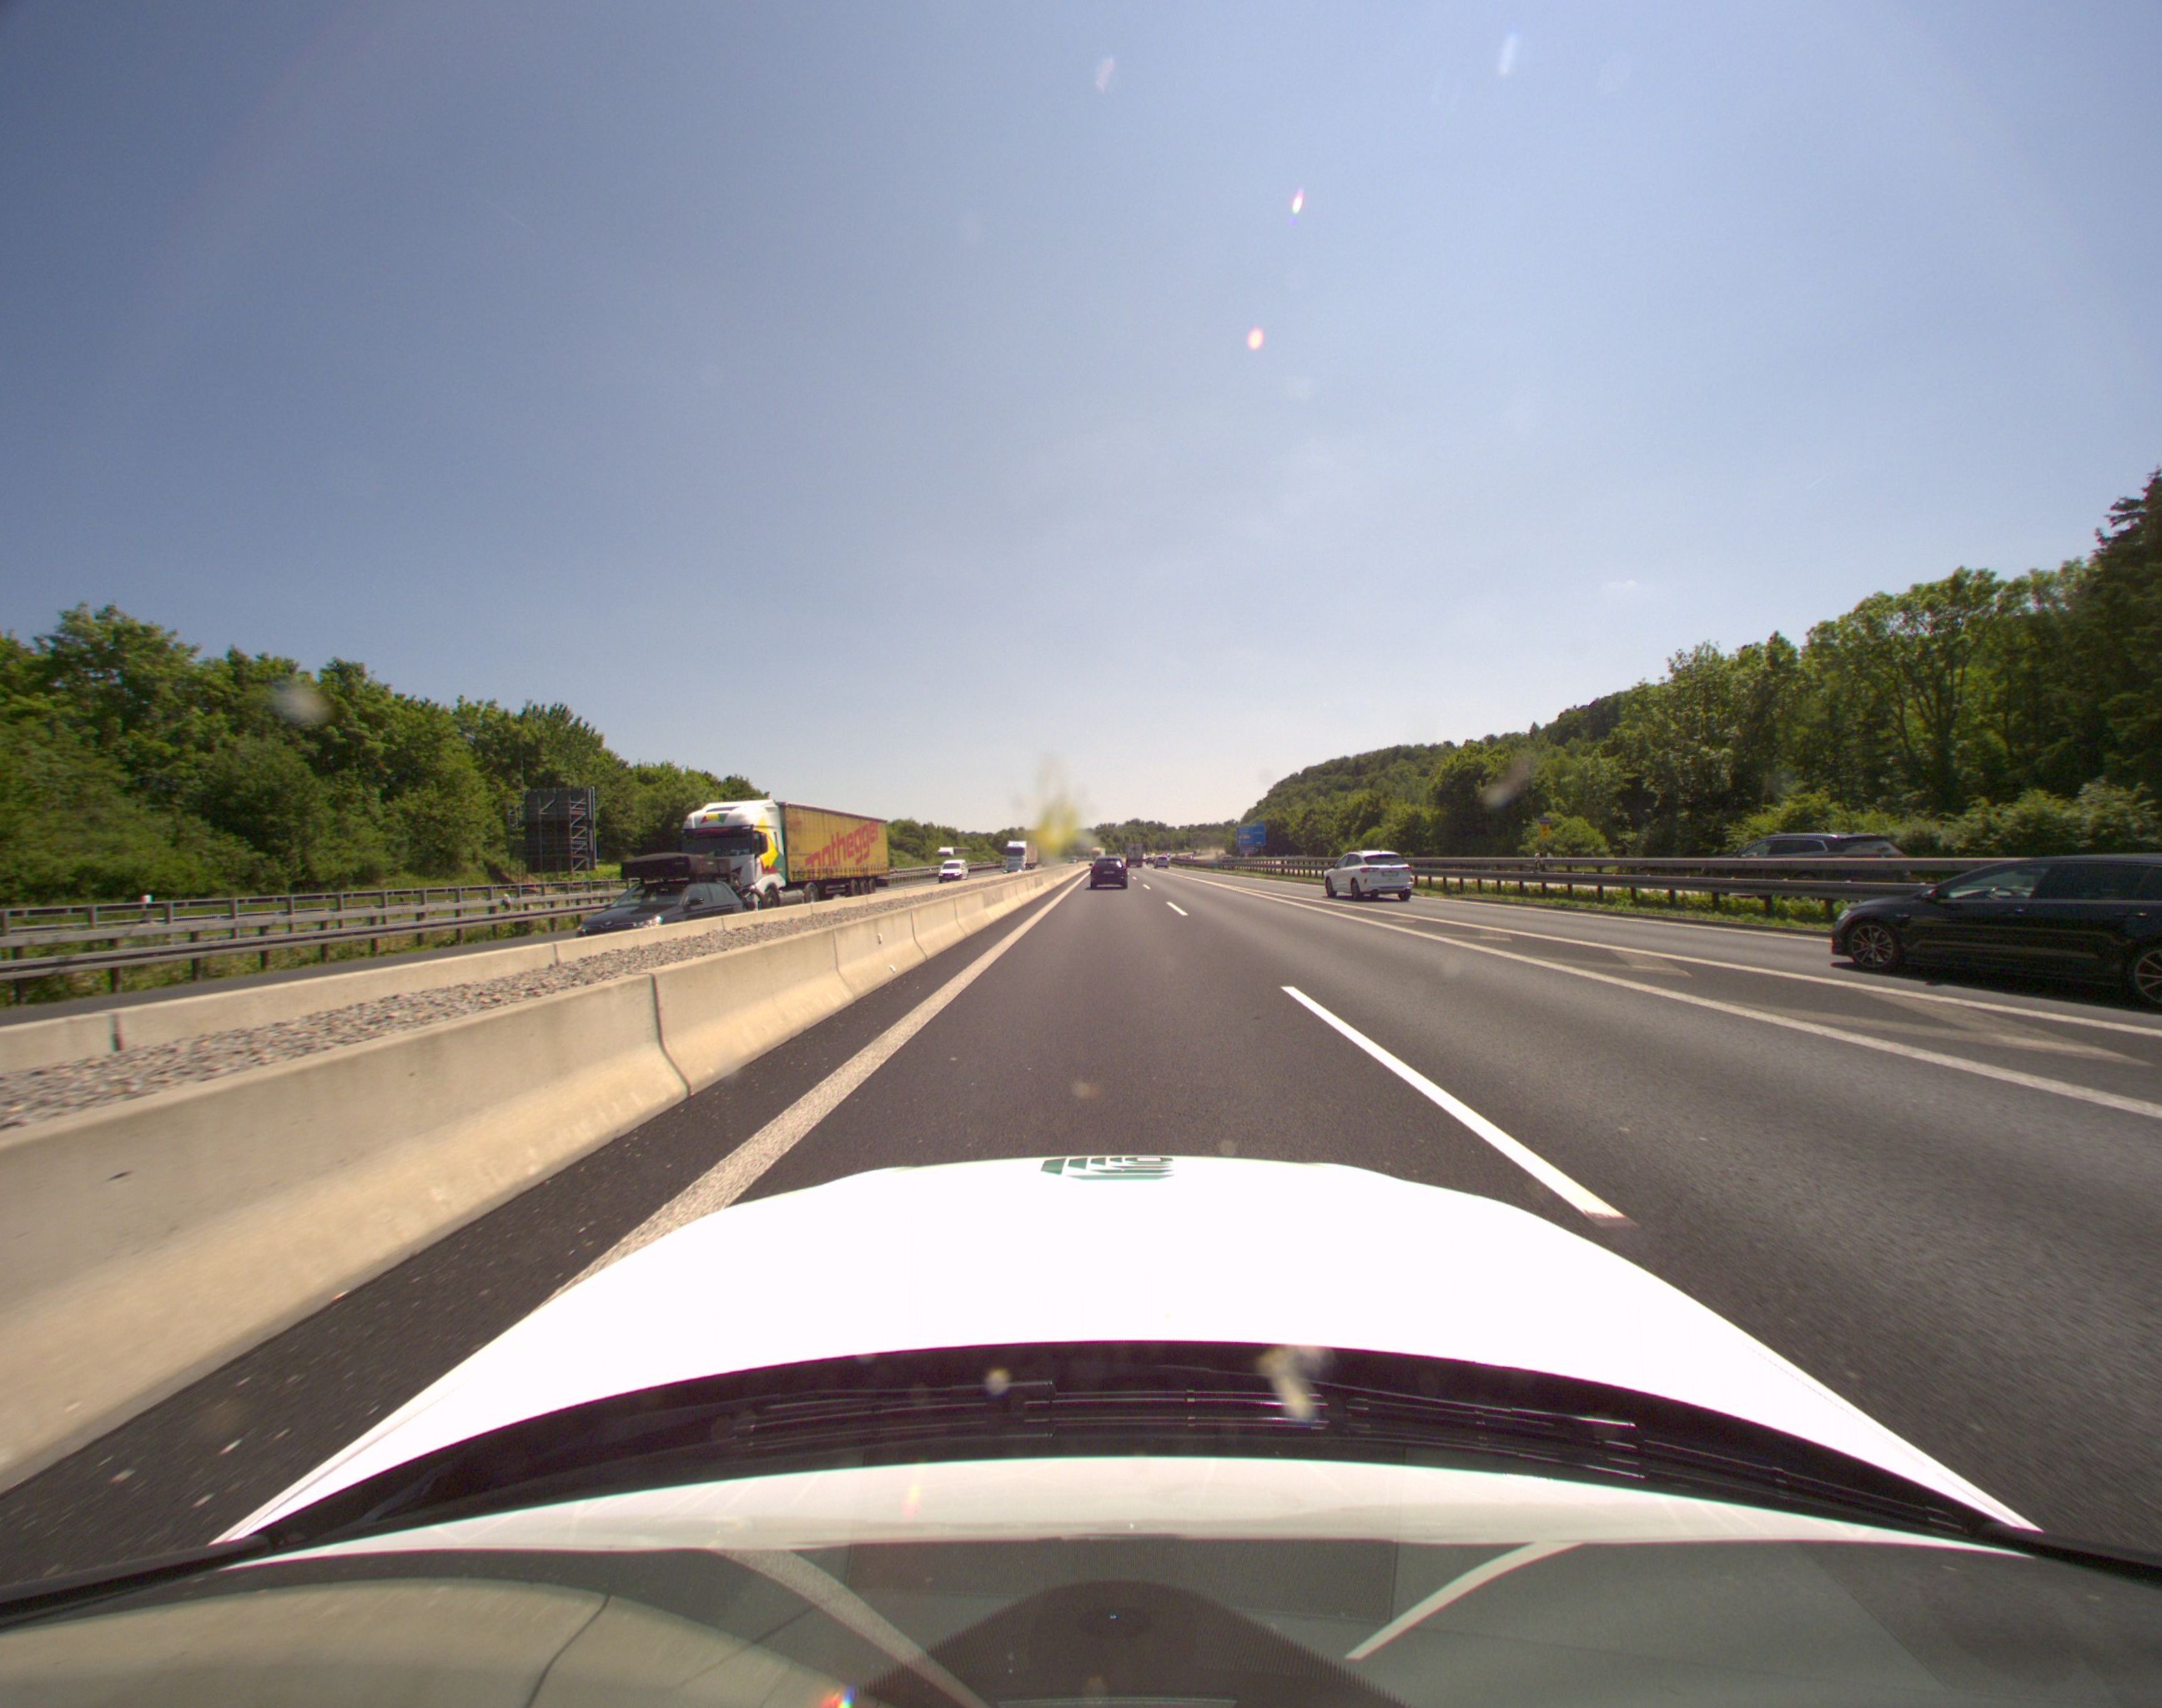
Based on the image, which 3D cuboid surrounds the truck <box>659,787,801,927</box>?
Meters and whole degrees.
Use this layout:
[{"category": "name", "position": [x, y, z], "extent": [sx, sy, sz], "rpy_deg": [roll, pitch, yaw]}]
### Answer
[{"category": "truck", "position": [-11.568, 0.107, 27.308], "extent": [2.696, 4.288, 4.554], "rpy_deg": [0, -1, 1]}]

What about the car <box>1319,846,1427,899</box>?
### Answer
[{"category": "car", "position": [9.954, 0.617, 28.184], "extent": [1.988, 1.662, 4.464], "rpy_deg": [0, -1, -2]}]

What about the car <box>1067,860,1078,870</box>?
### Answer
[{"category": "car", "position": [-1.612, 2.140, 161.054], "extent": [2.043, 2.014, 4.956], "rpy_deg": [0, -1, 1]}]

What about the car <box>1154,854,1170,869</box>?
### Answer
[{"category": "car", "position": [11.526, 1.058, 116.278], "extent": [1.985, 2.013, 4.003], "rpy_deg": [-4, 0, 3]}]

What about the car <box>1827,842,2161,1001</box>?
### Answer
[{"category": "car", "position": [10.595, 0.618, 8.569], "extent": [1.789, 1.435, 3.963], "rpy_deg": [0, -1, -2]}]

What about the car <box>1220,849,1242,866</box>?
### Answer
[{"category": "car", "position": [19.205, 0.424, 104.340], "extent": [1.987, 2.013, 3.999], "rpy_deg": [-2, 0, 0]}]

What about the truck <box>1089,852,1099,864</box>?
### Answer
[{"category": "truck", "position": [4.086, 1.158, 253.899], "extent": [2.734, 3.755, 4.877], "rpy_deg": [0, -1, 8]}]

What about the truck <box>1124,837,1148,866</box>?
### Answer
[{"category": "truck", "position": [8.948, -0.270, 131.666], "extent": [3.015, 4.418, 12.043], "rpy_deg": [0, -1, 8]}]

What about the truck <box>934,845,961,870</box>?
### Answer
[{"category": "truck", "position": [-22.663, 0.630, 138.232], "extent": [3.207, 4.045, 6.642], "rpy_deg": [0, -1, 2]}]

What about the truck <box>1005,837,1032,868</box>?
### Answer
[{"category": "truck", "position": [-8.299, -0.115, 107.950], "extent": [2.917, 3.973, 5.900], "rpy_deg": [0, -1, 2]}]

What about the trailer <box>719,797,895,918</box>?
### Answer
[{"category": "trailer", "position": [-11.337, 0.197, 35.885], "extent": [2.657, 4.273, 13.819], "rpy_deg": [0, -1, 2]}]

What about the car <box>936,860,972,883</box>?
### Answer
[{"category": "car", "position": [-10.093, 1.377, 65.054], "extent": [1.734, 1.826, 4.908], "rpy_deg": [0, -1, 4]}]

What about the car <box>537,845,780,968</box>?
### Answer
[{"category": "car", "position": [-8.191, 0.908, 16.546], "extent": [1.911, 2.013, 5.348], "rpy_deg": [-2, 0, 2]}]

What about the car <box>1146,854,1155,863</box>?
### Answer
[{"category": "car", "position": [15.356, 1.064, 180.289], "extent": [1.983, 2.014, 4.007], "rpy_deg": [0, -1, 6]}]

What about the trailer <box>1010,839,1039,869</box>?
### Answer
[{"category": "trailer", "position": [-8.007, 0.116, 116.631], "extent": [2.898, 4.045, 12.068], "rpy_deg": [0, -1, 2]}]

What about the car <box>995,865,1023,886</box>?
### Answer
[{"category": "car", "position": [-6.298, 1.863, 71.695], "extent": [1.977, 1.826, 4.826], "rpy_deg": [0, -1, 0]}]

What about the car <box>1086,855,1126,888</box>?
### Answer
[{"category": "car", "position": [1.195, 0.851, 40.494], "extent": [1.774, 1.577, 3.998], "rpy_deg": [0, -1, -1]}]

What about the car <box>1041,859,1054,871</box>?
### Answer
[{"category": "car", "position": [-6.000, 1.944, 145.650], "extent": [1.986, 2.014, 4.486], "rpy_deg": [0, -1, 2]}]

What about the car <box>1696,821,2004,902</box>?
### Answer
[{"category": "car", "position": [18.166, 0.185, 19.792], "extent": [1.989, 1.662, 5.619], "rpy_deg": [0, -1, -3]}]
